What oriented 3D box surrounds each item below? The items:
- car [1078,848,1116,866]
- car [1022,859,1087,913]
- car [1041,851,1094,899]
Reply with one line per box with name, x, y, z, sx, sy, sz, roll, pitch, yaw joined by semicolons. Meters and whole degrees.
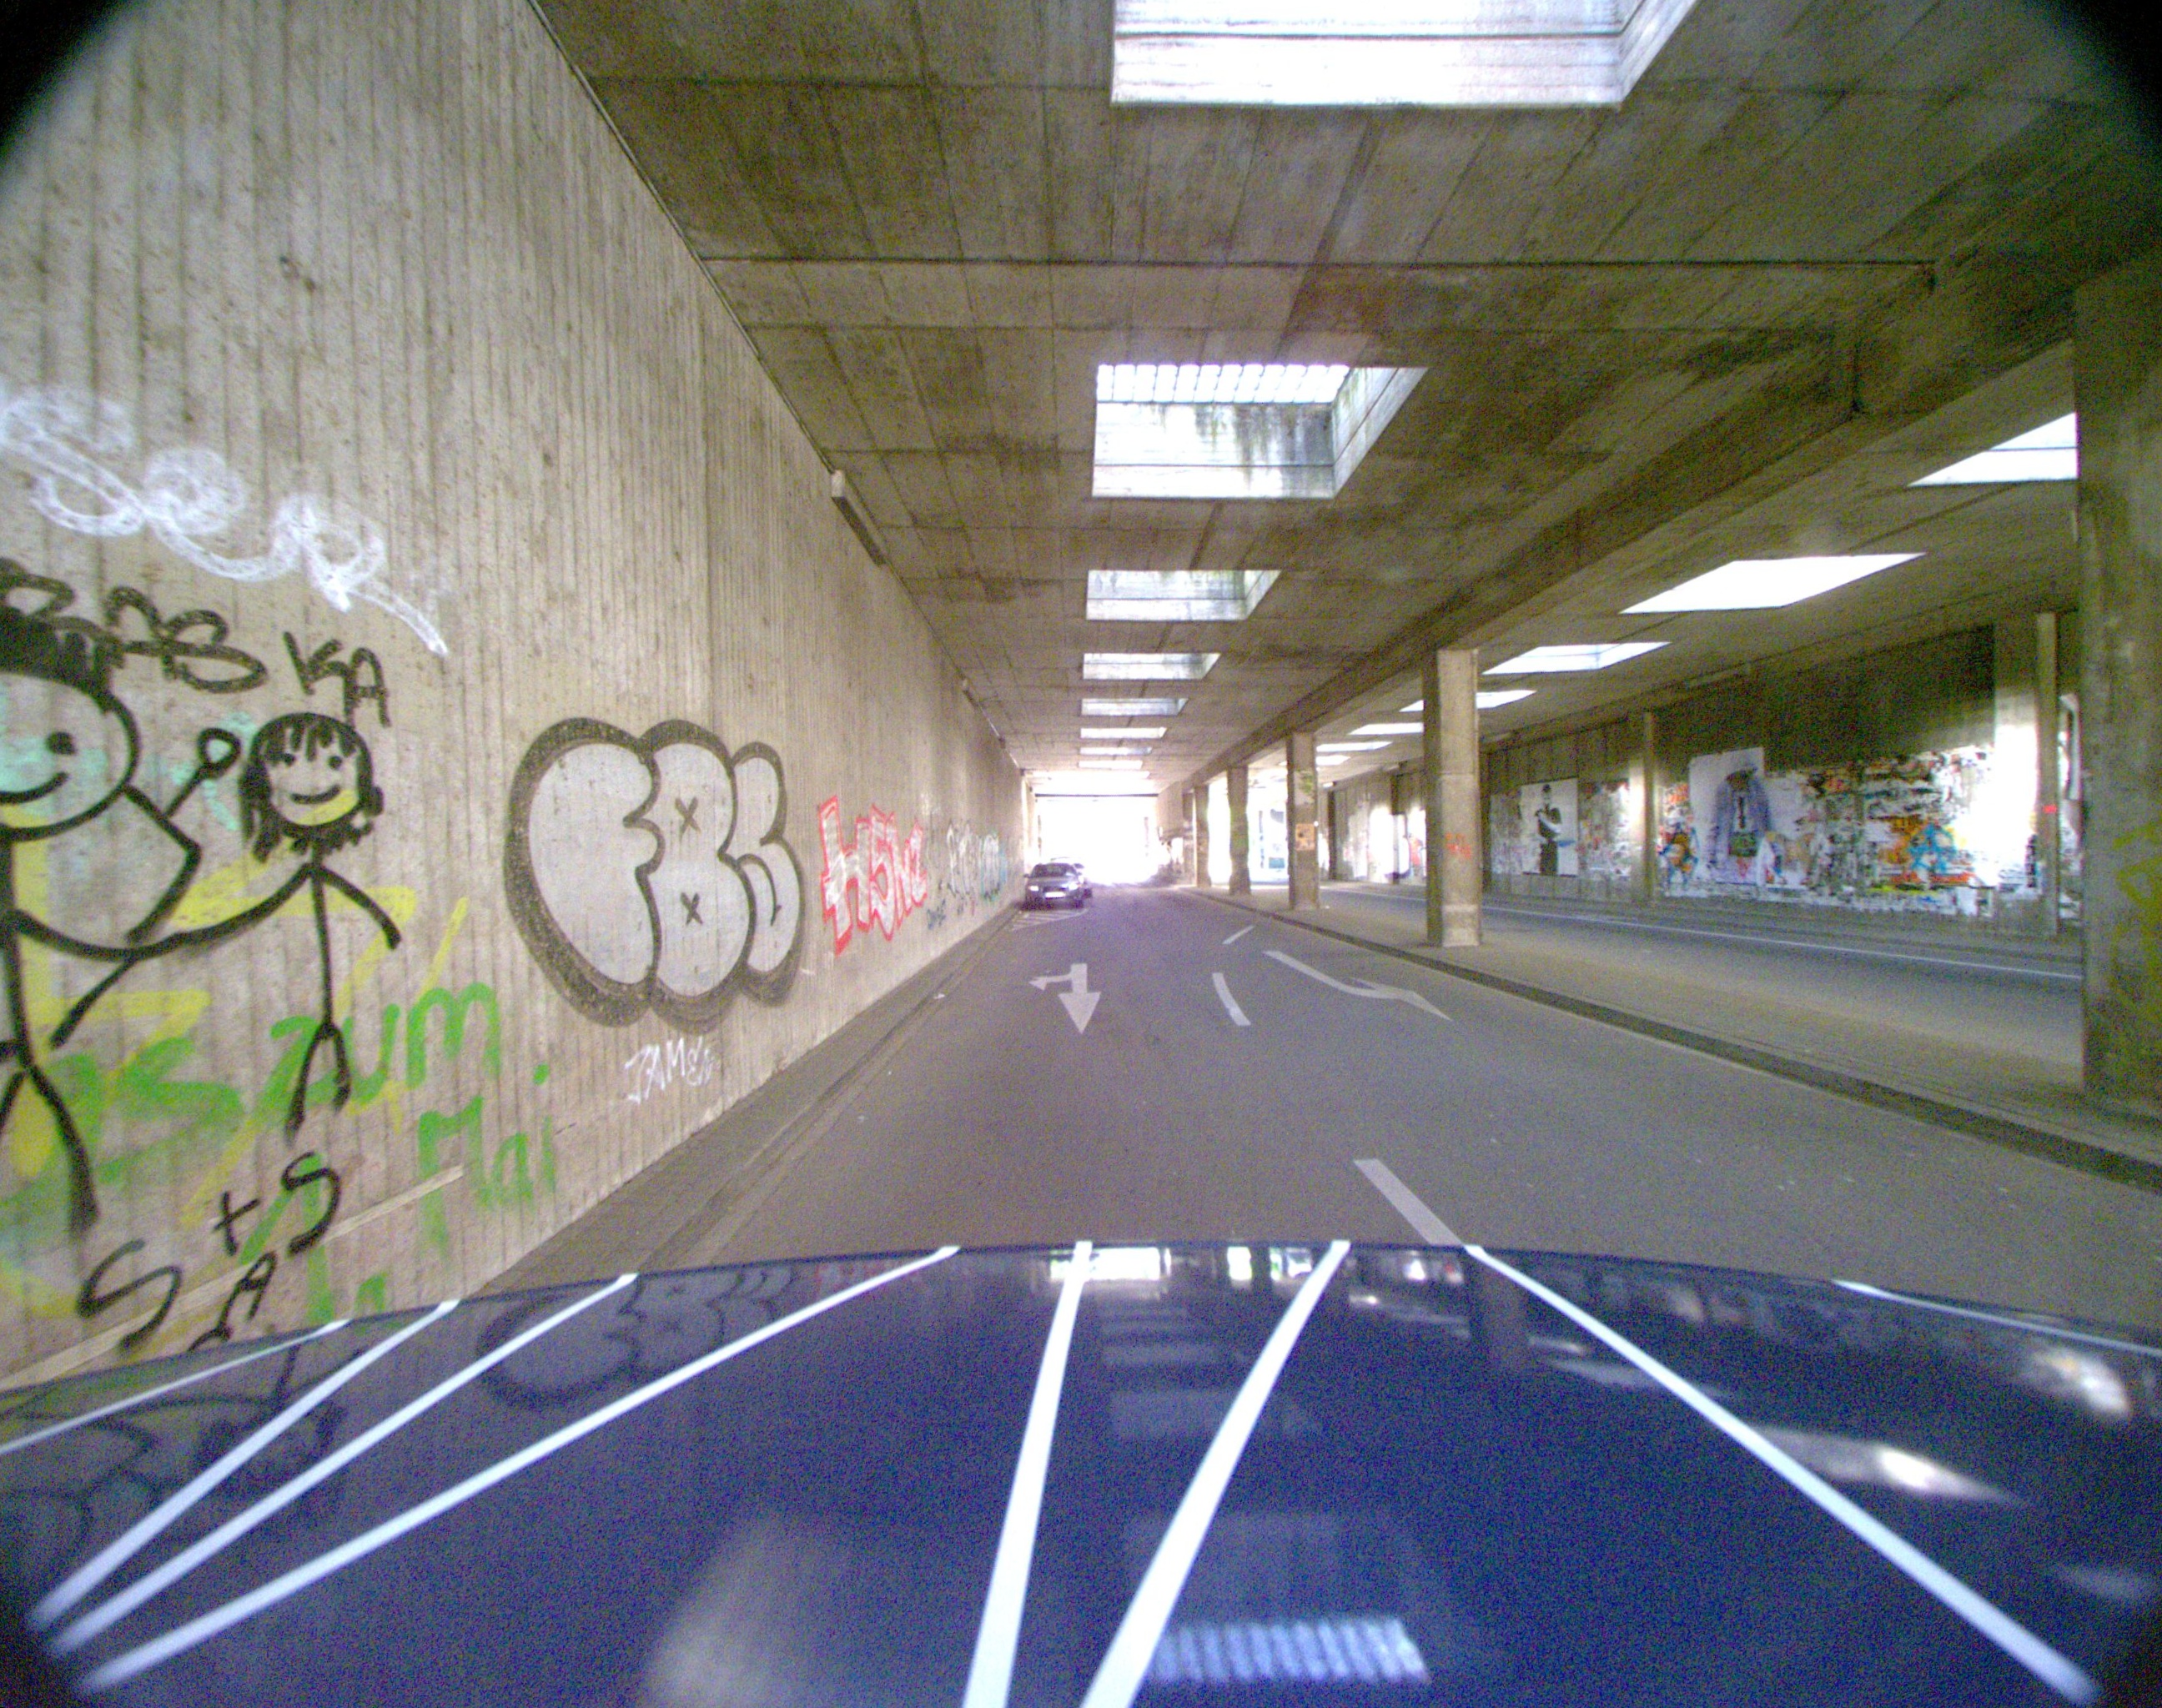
car;1.749;0.325;84.369;3.998;1.841;1.811;-1;0;-3
car;-0.741;0.933;23.873;1.808;1.460;4.000;-2;0;1
car;-0.463;0.765;29.665;1.861;1.709;4.000;-2;0;1
